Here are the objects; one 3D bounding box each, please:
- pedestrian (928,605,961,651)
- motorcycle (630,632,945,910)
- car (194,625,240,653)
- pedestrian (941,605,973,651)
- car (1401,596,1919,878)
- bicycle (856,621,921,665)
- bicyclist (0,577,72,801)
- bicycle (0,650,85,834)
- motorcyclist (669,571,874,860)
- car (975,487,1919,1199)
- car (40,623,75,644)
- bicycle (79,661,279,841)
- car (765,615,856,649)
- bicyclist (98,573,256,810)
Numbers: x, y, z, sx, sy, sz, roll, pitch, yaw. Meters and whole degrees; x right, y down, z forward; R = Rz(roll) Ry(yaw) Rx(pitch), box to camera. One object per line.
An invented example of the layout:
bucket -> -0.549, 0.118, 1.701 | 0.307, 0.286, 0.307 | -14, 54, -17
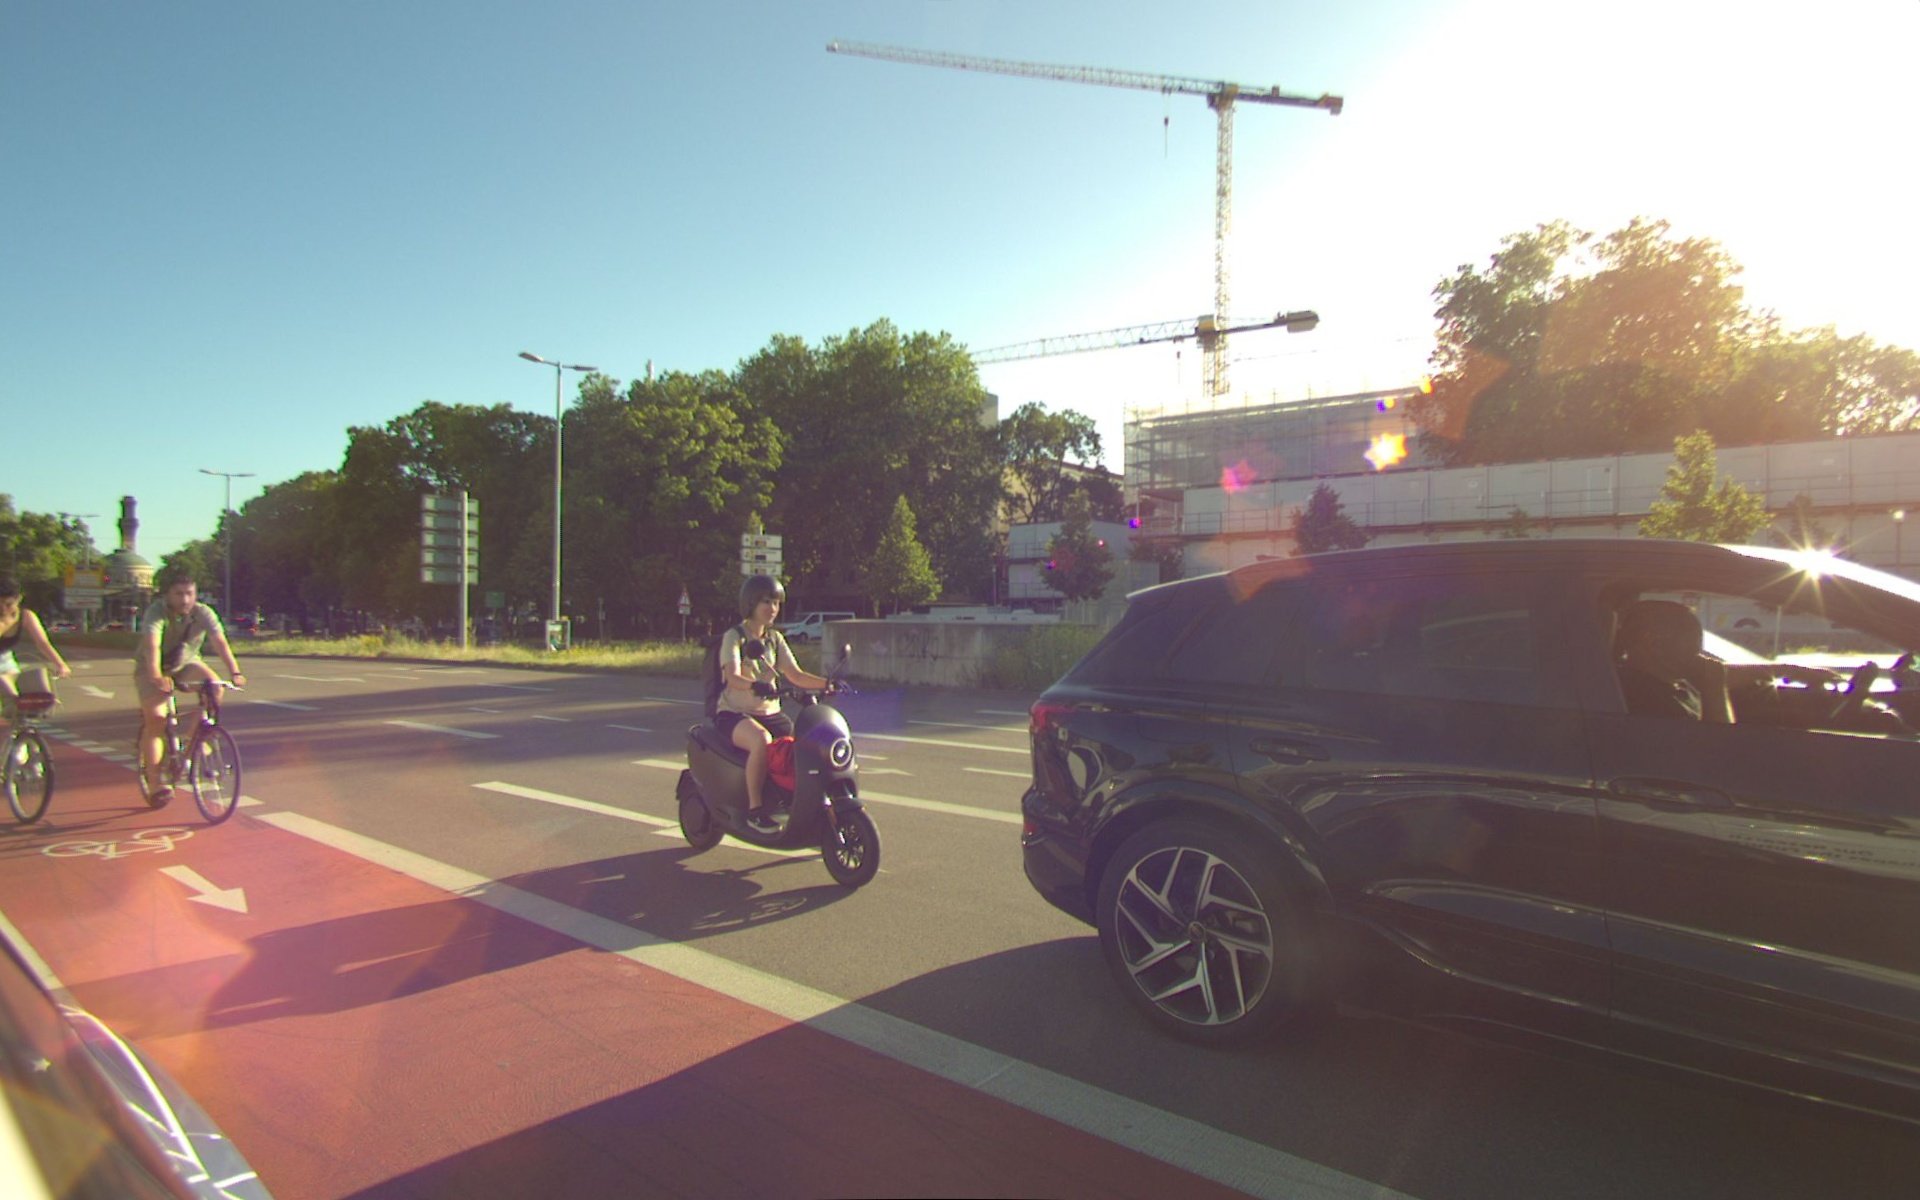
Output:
pedestrian -> -0.705, 1.231, 45.393 | 1.135, 2.029, 0.930 | -1, 0, 35
motorcycle -> -1.031, 0.844, 5.732 | 1.883, 1.303, 0.715 | -2, -1, 41
car -> -52.445, 2.718, 71.393 | 3.998, 1.841, 1.796 | -1, 0, 41
pedestrian -> -0.140, 1.270, 46.223 | 1.135, 2.029, 0.930 | -1, 0, 35
car -> 4.976, 0.756, 6.548 | 3.603, 1.497, 1.477 | -2, -1, 41
bicycle -> -3.149, 1.880, 44.316 | 3.079, 1.824, 0.831 | -3, -1, 40
bicyclist -> -7.155, 0.642, 7.531 | 0.873, 1.591, 0.636 | -2, -1, 36
bicycle -> -7.239, 1.007, 7.593 | 1.828, 1.227, 0.610 | -2, -1, 36
motorcyclist -> -1.077, 0.598, 5.772 | 0.917, 1.485, 0.717 | -2, -1, 41
car -> 2.418, 0.578, 3.029 | 4.677, 1.647, 1.753 | -1, 0, 40
car -> -78.242, 2.901, 87.736 | 3.998, 1.699, 1.826 | -1, 0, 41
bicycle -> -5.797, 1.039, 7.472 | 1.967, 1.118, 0.641 | -1, -1, 36
car -> -9.060, 1.926, 61.847 | 2.065, 1.950, 5.443 | -1, -2, 42
bicyclist -> -5.765, 0.632, 7.453 | 0.840, 1.618, 0.710 | -1, -1, 36
